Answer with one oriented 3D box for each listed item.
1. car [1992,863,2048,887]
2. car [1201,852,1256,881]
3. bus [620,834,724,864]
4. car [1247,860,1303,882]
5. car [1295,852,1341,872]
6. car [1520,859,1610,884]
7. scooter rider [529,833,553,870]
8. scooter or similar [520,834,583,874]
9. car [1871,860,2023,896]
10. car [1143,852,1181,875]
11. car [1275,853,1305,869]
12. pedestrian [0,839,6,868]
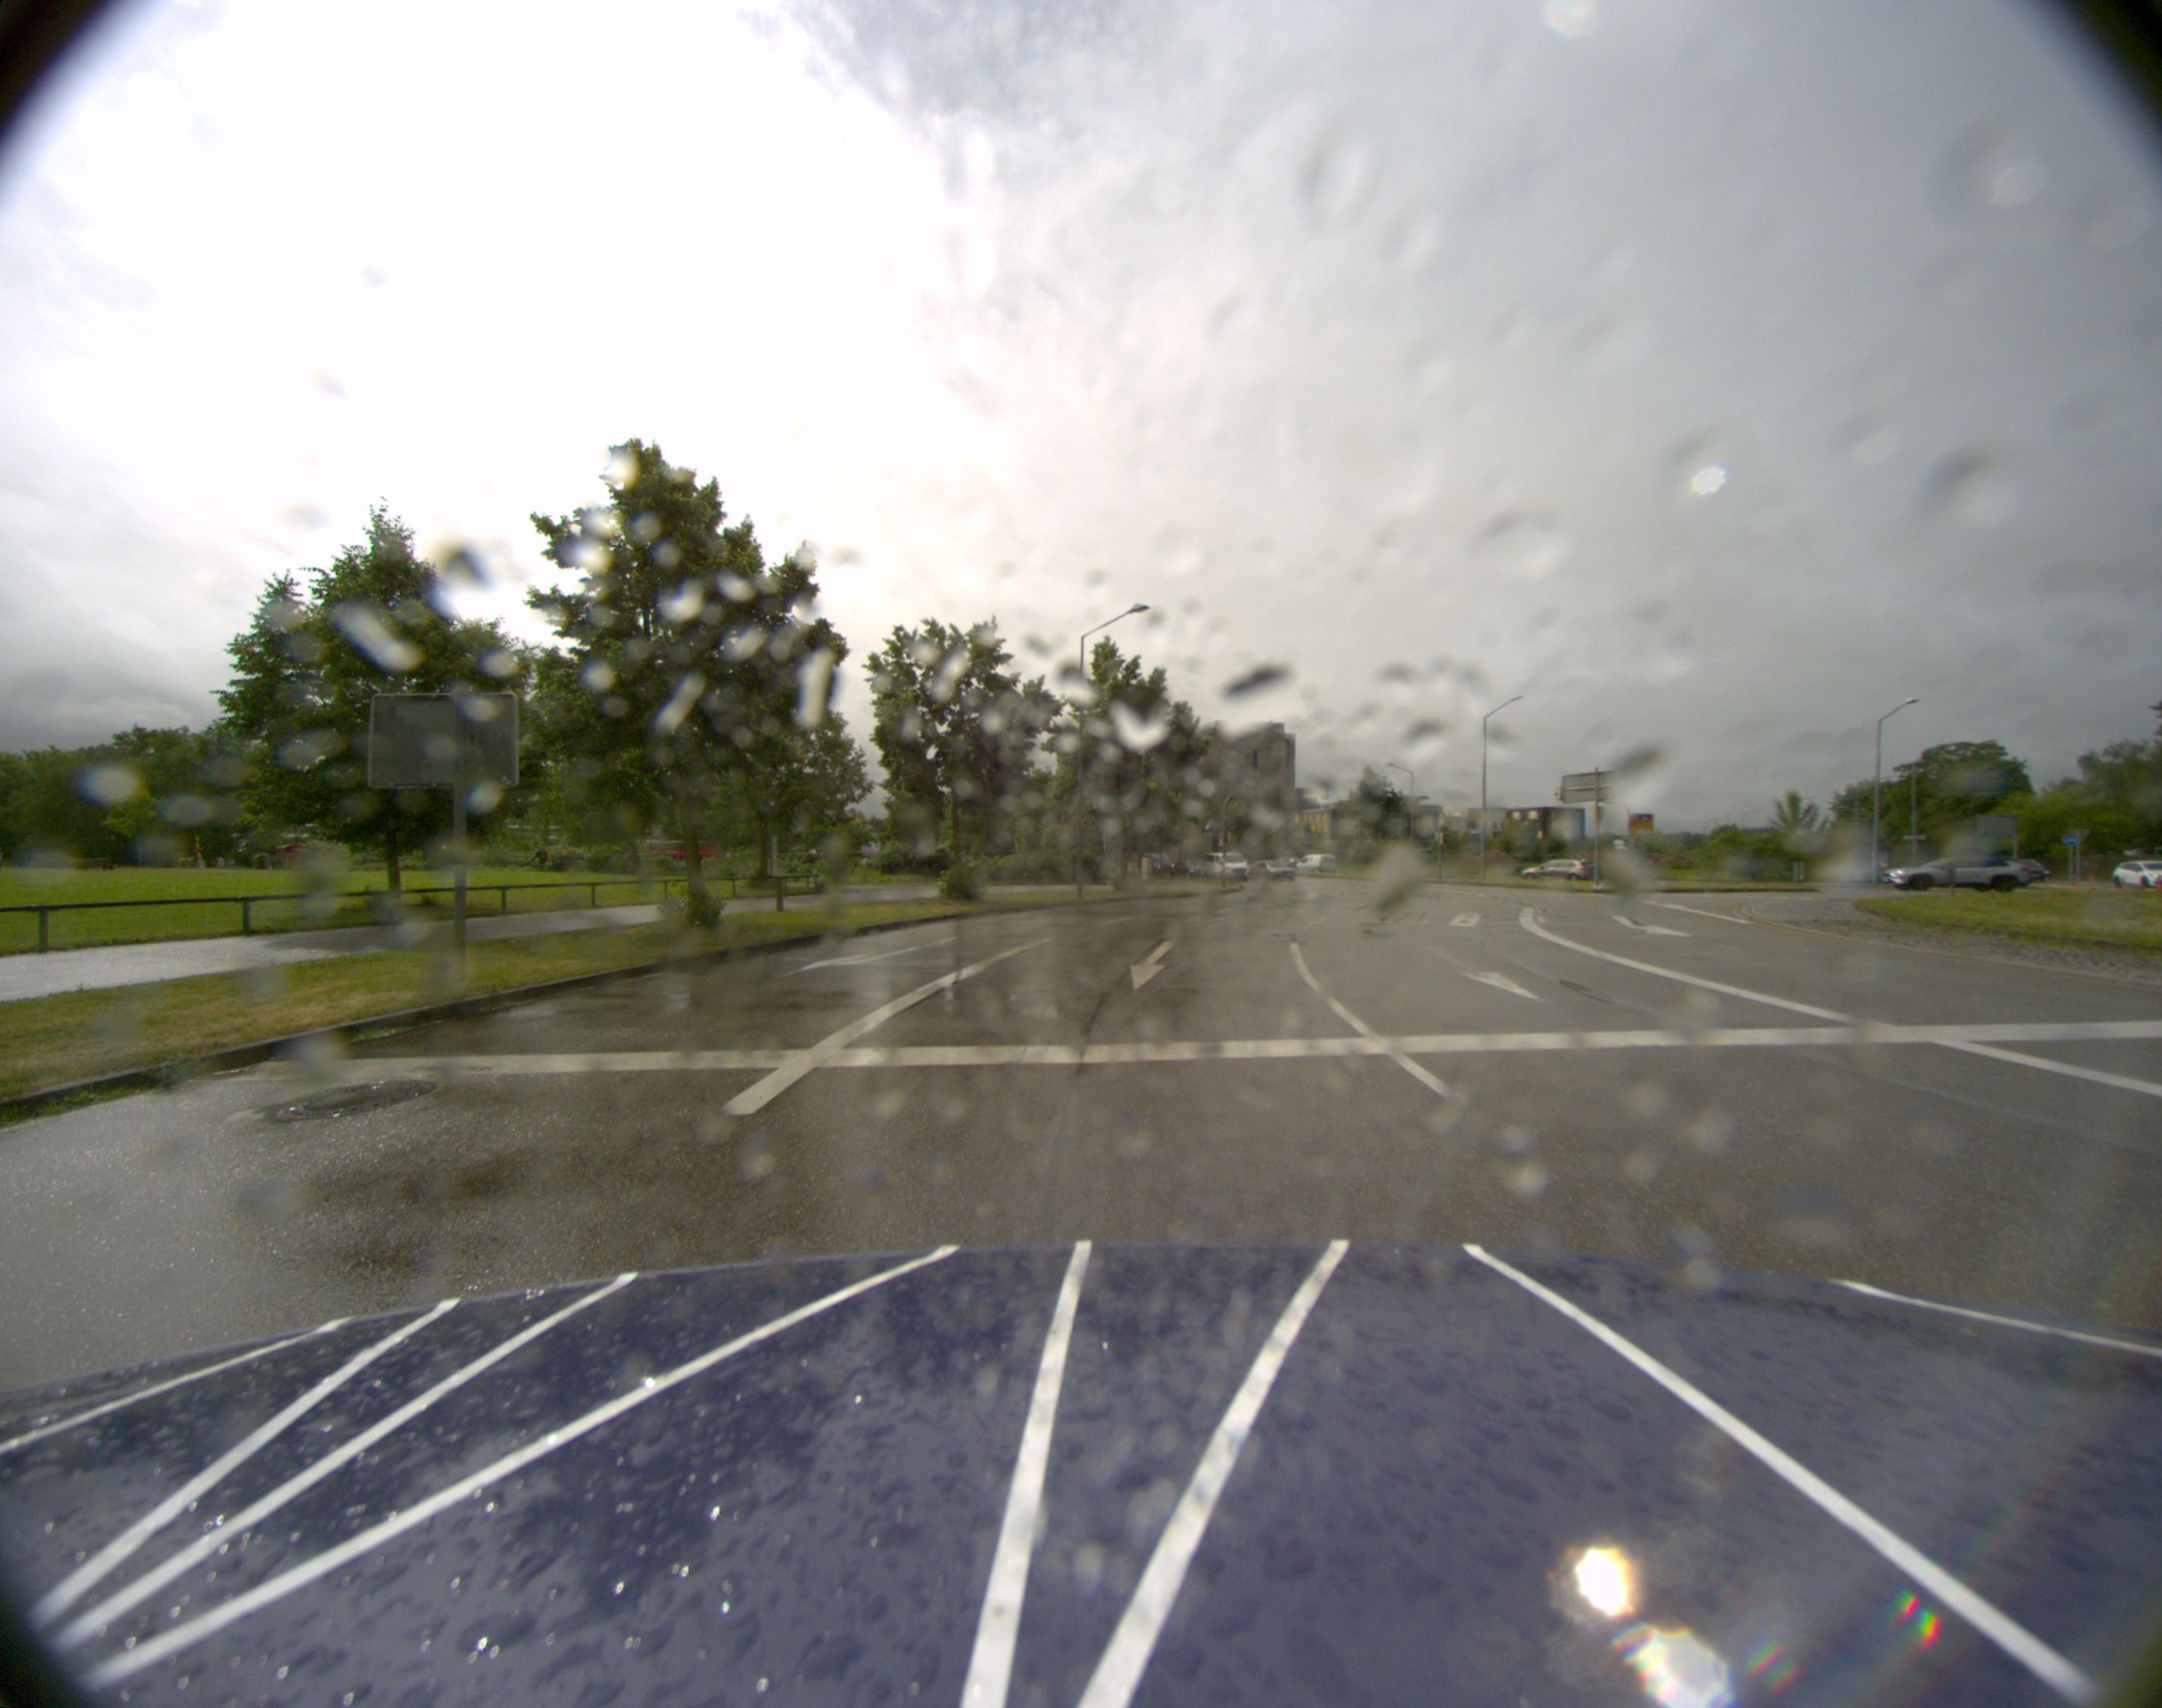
[{"bbox_3d":[70.770,1.578,57.346,1.870,1.653,4.494,2,-1,41],"label":"car"},{"bbox_3d":[10.499,0.906,54.449,2.080,1.975,4.794,1,-1,-14],"label":"car"},{"bbox_3d":[-49.833,-0.579,92.996,10.997,3.439,1.997,-1,0,-22],"label":"bus"},{"bbox_3d":[13.711,1.169,53.970,1.868,1.372,4.546,-2,1,-14],"label":"car"},{"bbox_3d":[21.412,0.743,68.946,1.868,1.752,4.546,1,-1,-14],"label":"car"},{"bbox_3d":[28.335,1.025,44.591,1.738,1.404,4.119,1,-1,-29],"label":"car"},{"bbox_3d":[-29.464,-0.120,41.470,0.769,2.001,0.707,-2,0,22],"label":"scooter rider"},{"bbox_3d":[-28.604,0.019,41.037,3.401,2.001,1.242,-2,-1,25],"label":"scooter or similar"},{"bbox_3d":[41.706,1.131,36.745,4.471,1.653,1.879,0,-1,30],"label":"car"},{"bbox_3d":[7.271,0.885,68.838,2.079,1.975,4.796,1,-1,-11],"label":"car"},{"bbox_3d":[22.764,0.729,82.927,1.874,1.647,4.498,1,0,-3],"label":"car"},{"bbox_3d":[-66.184,-0.038,46.351,0.598,1.721,0.607,-2,0,41],"label":"pedestrian"}]
